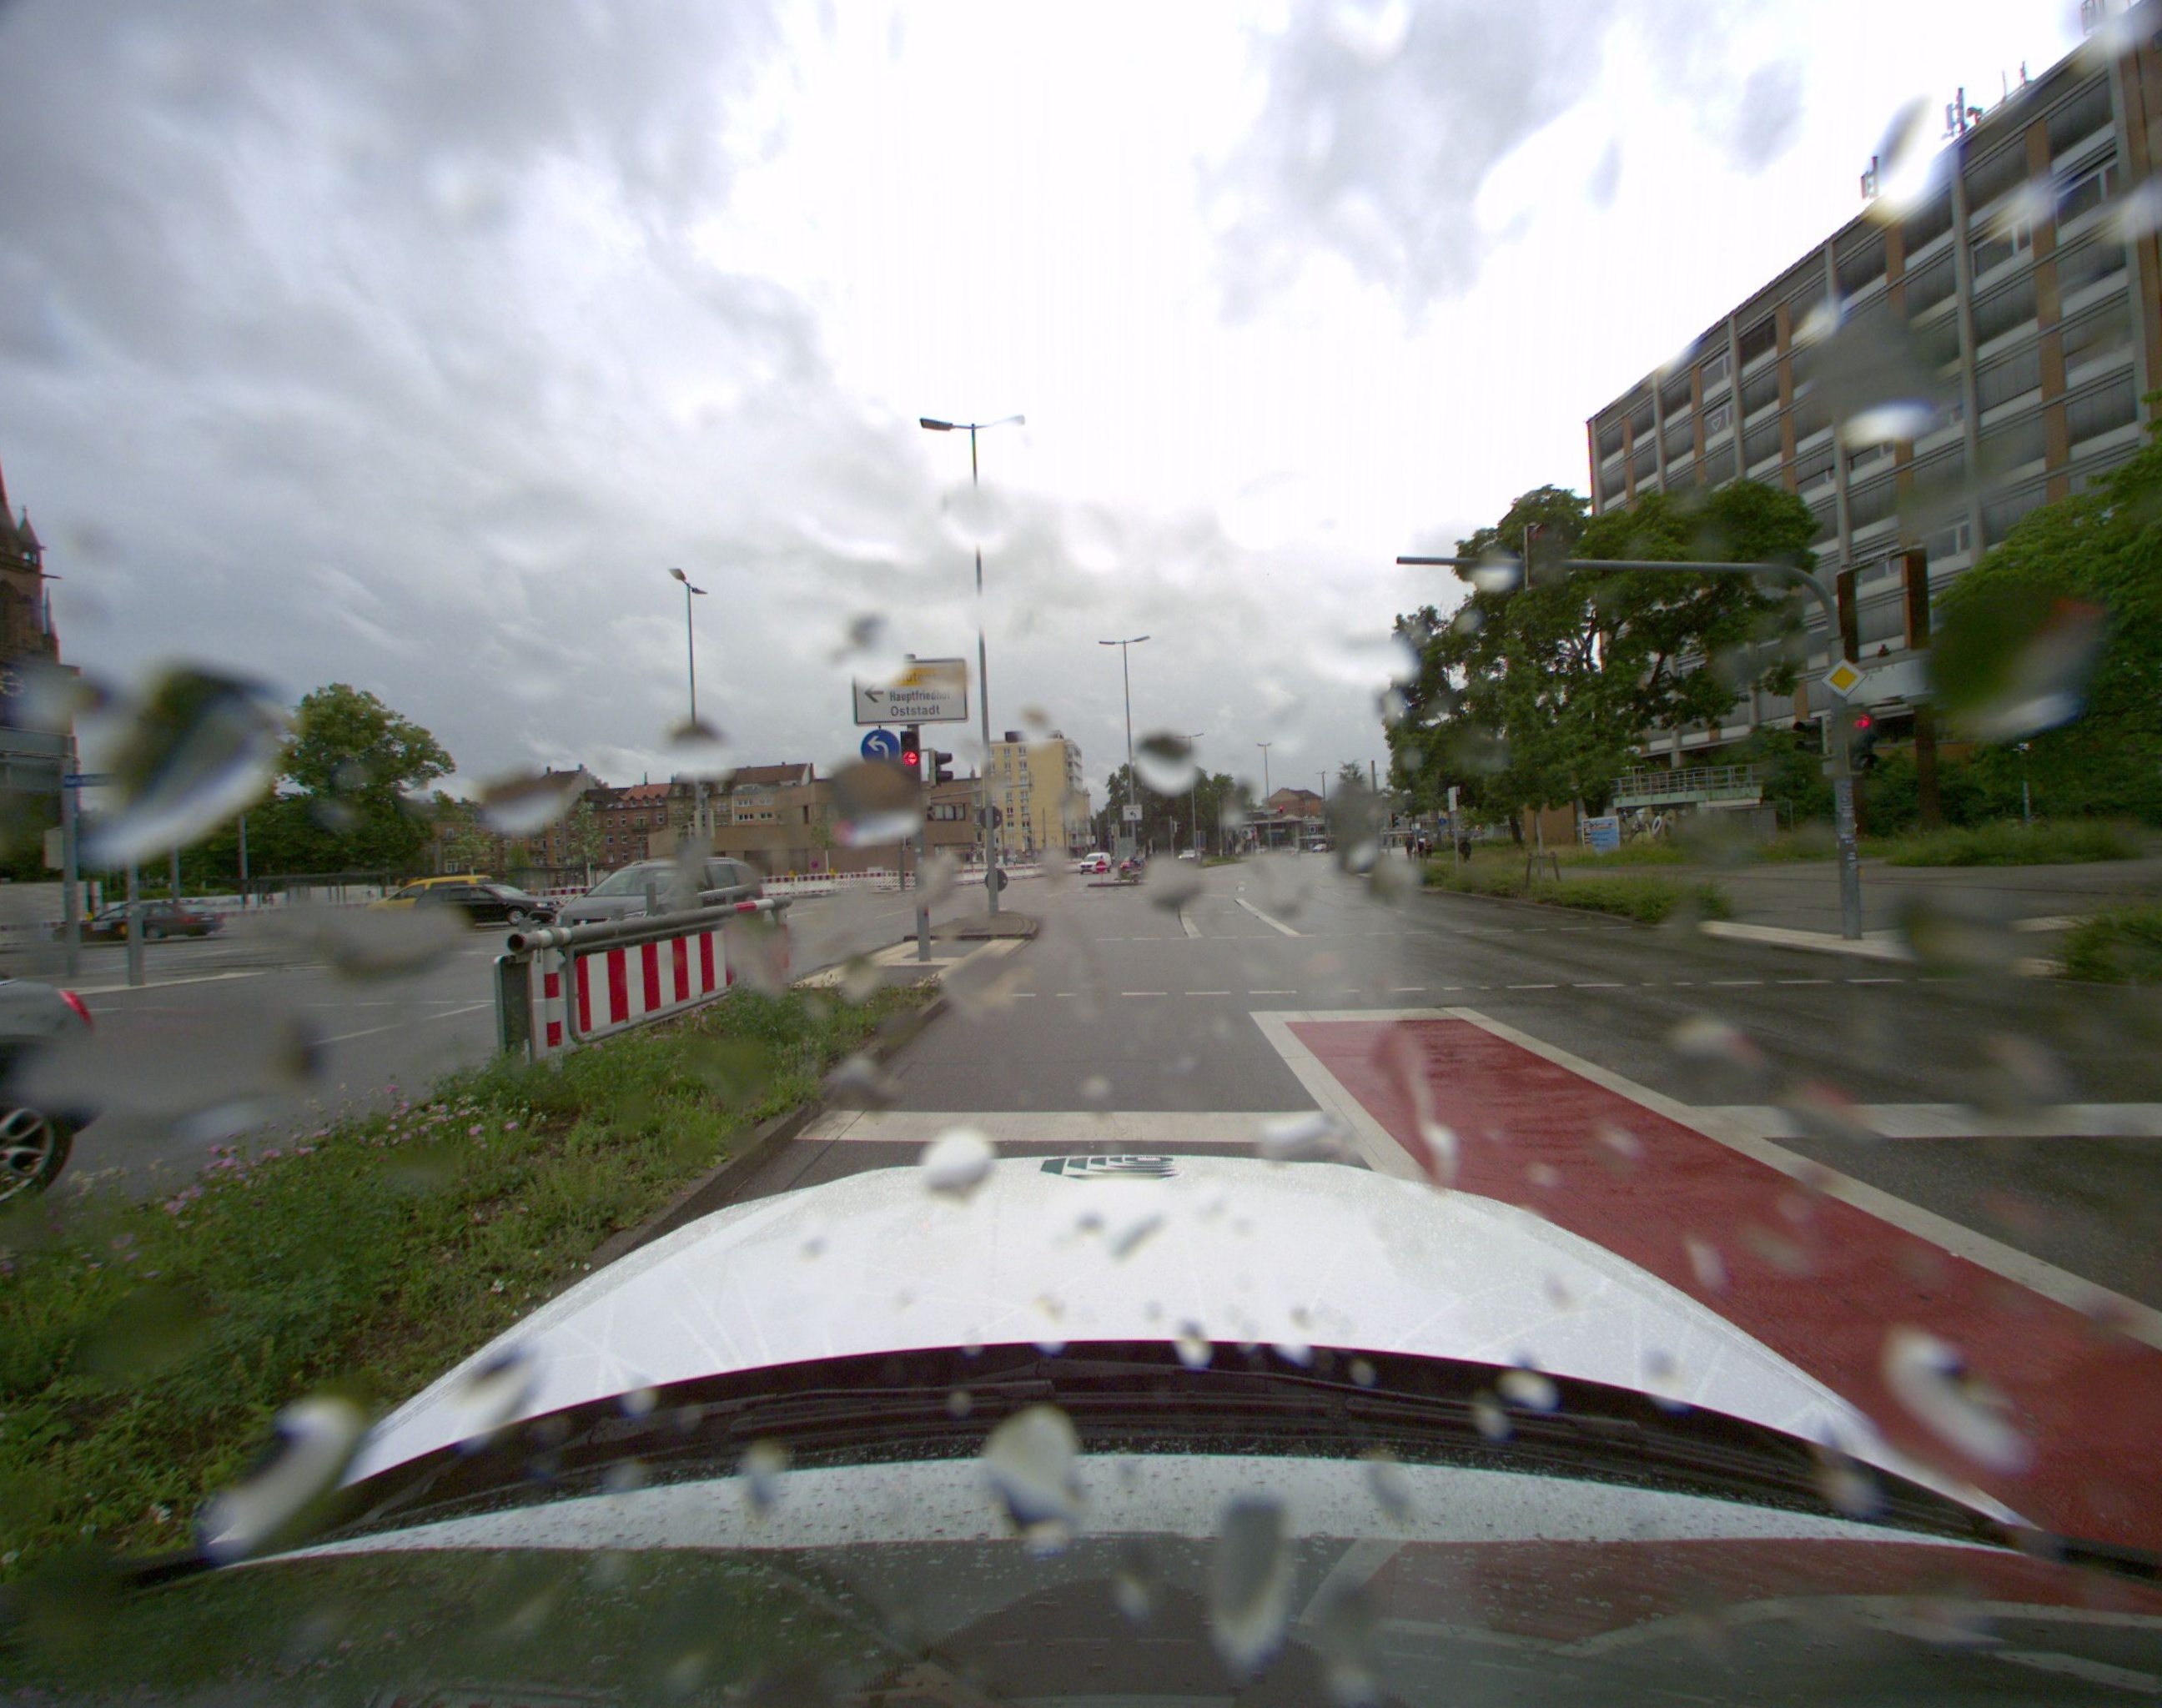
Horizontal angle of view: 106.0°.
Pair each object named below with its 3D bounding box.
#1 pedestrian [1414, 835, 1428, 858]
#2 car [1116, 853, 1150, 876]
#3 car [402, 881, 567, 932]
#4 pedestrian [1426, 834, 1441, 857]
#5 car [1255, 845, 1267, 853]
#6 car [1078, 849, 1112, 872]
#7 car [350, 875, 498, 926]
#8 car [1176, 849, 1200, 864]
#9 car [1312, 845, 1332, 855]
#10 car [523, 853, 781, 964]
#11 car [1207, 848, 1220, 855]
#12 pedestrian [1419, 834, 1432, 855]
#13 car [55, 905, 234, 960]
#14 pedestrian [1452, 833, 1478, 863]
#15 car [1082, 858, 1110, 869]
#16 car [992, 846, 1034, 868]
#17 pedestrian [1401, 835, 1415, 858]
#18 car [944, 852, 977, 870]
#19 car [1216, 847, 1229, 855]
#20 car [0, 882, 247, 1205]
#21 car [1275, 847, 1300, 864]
[{"bbox_3d":[23.922,-0.551,57.279,0.698,1.588,0.939,-3,0,12],"label":"pedestrian"},{"bbox_3d":[4.117,0.774,64.033,1.776,1.643,4.064,-3,0,16],"label":"car"},{"bbox_3d":[-19.983,1.747,27.434,4.185,1.402,1.615,-3,0,-5],"label":"car"},{"bbox_3d":[24.609,-0.587,56.868,0.698,1.588,0.939,-3,0,12],"label":"pedestrian"},{"bbox_3d":[41.075,-1.107,185.796,1.773,1.643,4.184,-3,0,25],"label":"car"},{"bbox_3d":[1.278,0.585,71.983,1.776,1.858,4.178,-3,0,17],"label":"car"},{"bbox_3d":[-25.632,1.784,31.887,4.134,1.706,1.707,-3,0,-6],"label":"car"},{"bbox_3d":[13.151,0.319,99.543,1.774,1.643,4.183,-3,0,23],"label":"car"},{"bbox_3d":[44.396,-0.719,149.845,1.773,1.643,4.184,-3,0,44],"label":"car"},{"bbox_3d":[-7.764,0.882,15.415,1.762,1.678,4.780,-3,0,8],"label":"car"},{"bbox_3d":[30.918,-0.575,190.343,1.773,1.643,4.184,-3,0,25],"label":"car"},{"bbox_3d":[26.324,-0.705,62.195,0.698,1.588,0.939,-3,0,12],"label":"pedestrian"},{"bbox_3d":[-35.558,2.956,31.021,4.440,1.706,1.707,-3,0,-6],"label":"car"},{"bbox_3d":[20.649,-0.329,43.803,1.015,1.588,0.939,-3,0,12],"label":"pedestrian"},{"bbox_3d":[2.473,1.508,132.875,4.356,1.643,1.801,-3,0,9],"label":"car"},{"bbox_3d":[-11.818,0.466,141.979,6.711,3.380,2.813,-3,0,4],"label":"car"},{"bbox_3d":[23.240,-0.515,57.865,0.749,1.588,0.939,-3,0,12],"label":"pedestrian"},{"bbox_3d":[-21.108,1.240,142.831,5.326,2.887,2.342,-3,0,4],"label":"car"},{"bbox_3d":[32.948,-0.677,189.468,1.773,1.643,4.184,-3,0,25],"label":"car"},{"bbox_3d":[-5.682,0.896,2.538,1.765,1.376,4.122,-3,0,2],"label":"car"},{"bbox_3d":[21.942,0.104,86.486,1.774,1.643,4.183,-3,0,23],"label":"car"}]
